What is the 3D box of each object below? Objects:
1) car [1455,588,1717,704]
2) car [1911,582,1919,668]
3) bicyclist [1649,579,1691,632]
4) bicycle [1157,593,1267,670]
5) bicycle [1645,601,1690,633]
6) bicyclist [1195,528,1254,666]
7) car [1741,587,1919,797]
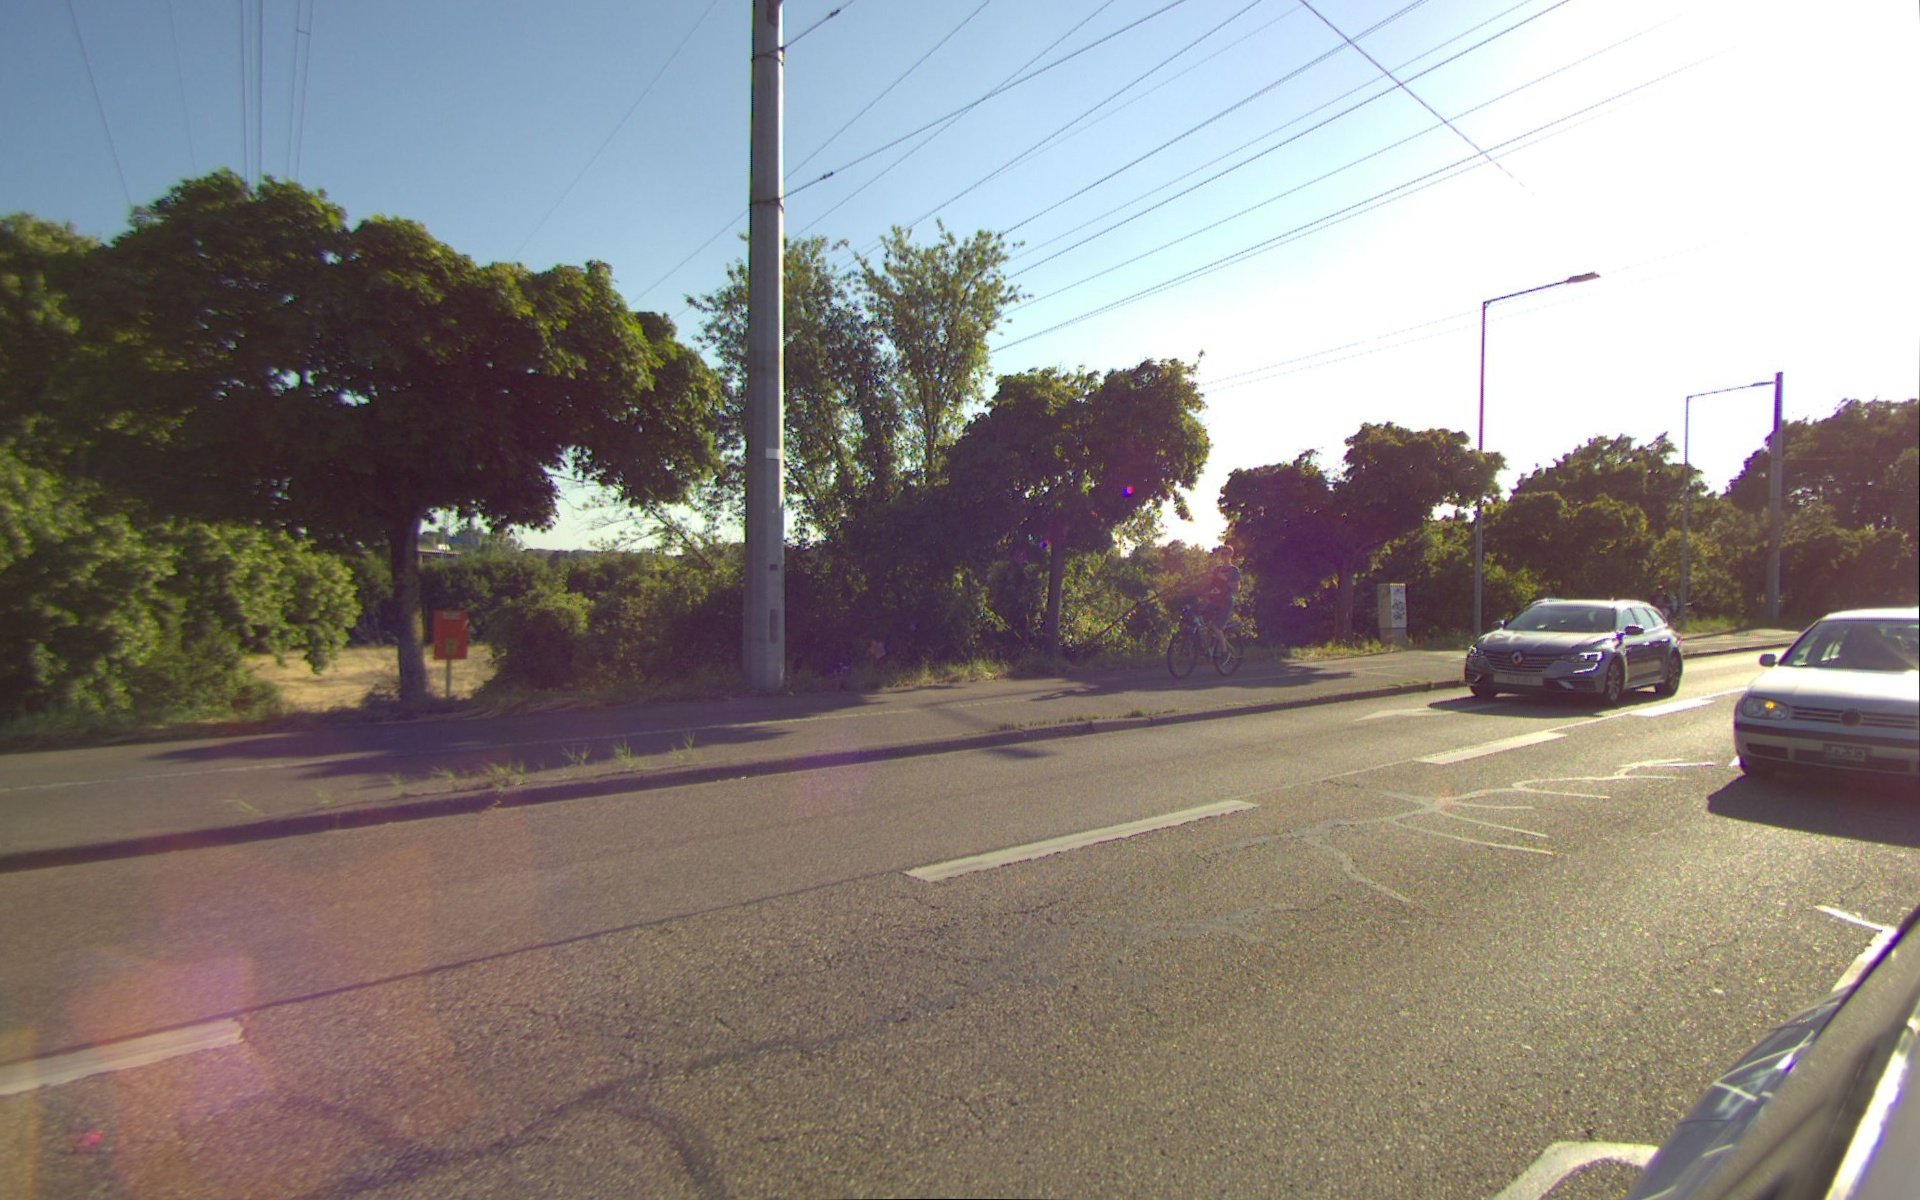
[{"bbox_3d":[9.497,0.567,15.214,4.574,1.461,1.881,-1,1,-38],"label":"car"},{"bbox_3d":[20.373,0.463,19.880,4.337,1.620,1.881,-1,1,-39],"label":"car"},{"bbox_3d":[20.742,0.150,29.564,1.041,1.488,0.628,-1,5,-40],"label":"bicyclist"},{"bbox_3d":[3.807,0.447,15.192,1.936,1.074,0.528,-1,0,-39],"label":"bicycle"},{"bbox_3d":[20.662,0.480,29.547,1.605,0.844,0.629,-1,5,-39],"label":"bicycle"},{"bbox_3d":[4.020,-0.046,15.372,0.716,2.042,0.528,0,0,-39],"label":"bicyclist"},{"bbox_3d":[8.241,0.639,8.601,3.930,1.463,1.695,-1,1,-39],"label":"car"}]
